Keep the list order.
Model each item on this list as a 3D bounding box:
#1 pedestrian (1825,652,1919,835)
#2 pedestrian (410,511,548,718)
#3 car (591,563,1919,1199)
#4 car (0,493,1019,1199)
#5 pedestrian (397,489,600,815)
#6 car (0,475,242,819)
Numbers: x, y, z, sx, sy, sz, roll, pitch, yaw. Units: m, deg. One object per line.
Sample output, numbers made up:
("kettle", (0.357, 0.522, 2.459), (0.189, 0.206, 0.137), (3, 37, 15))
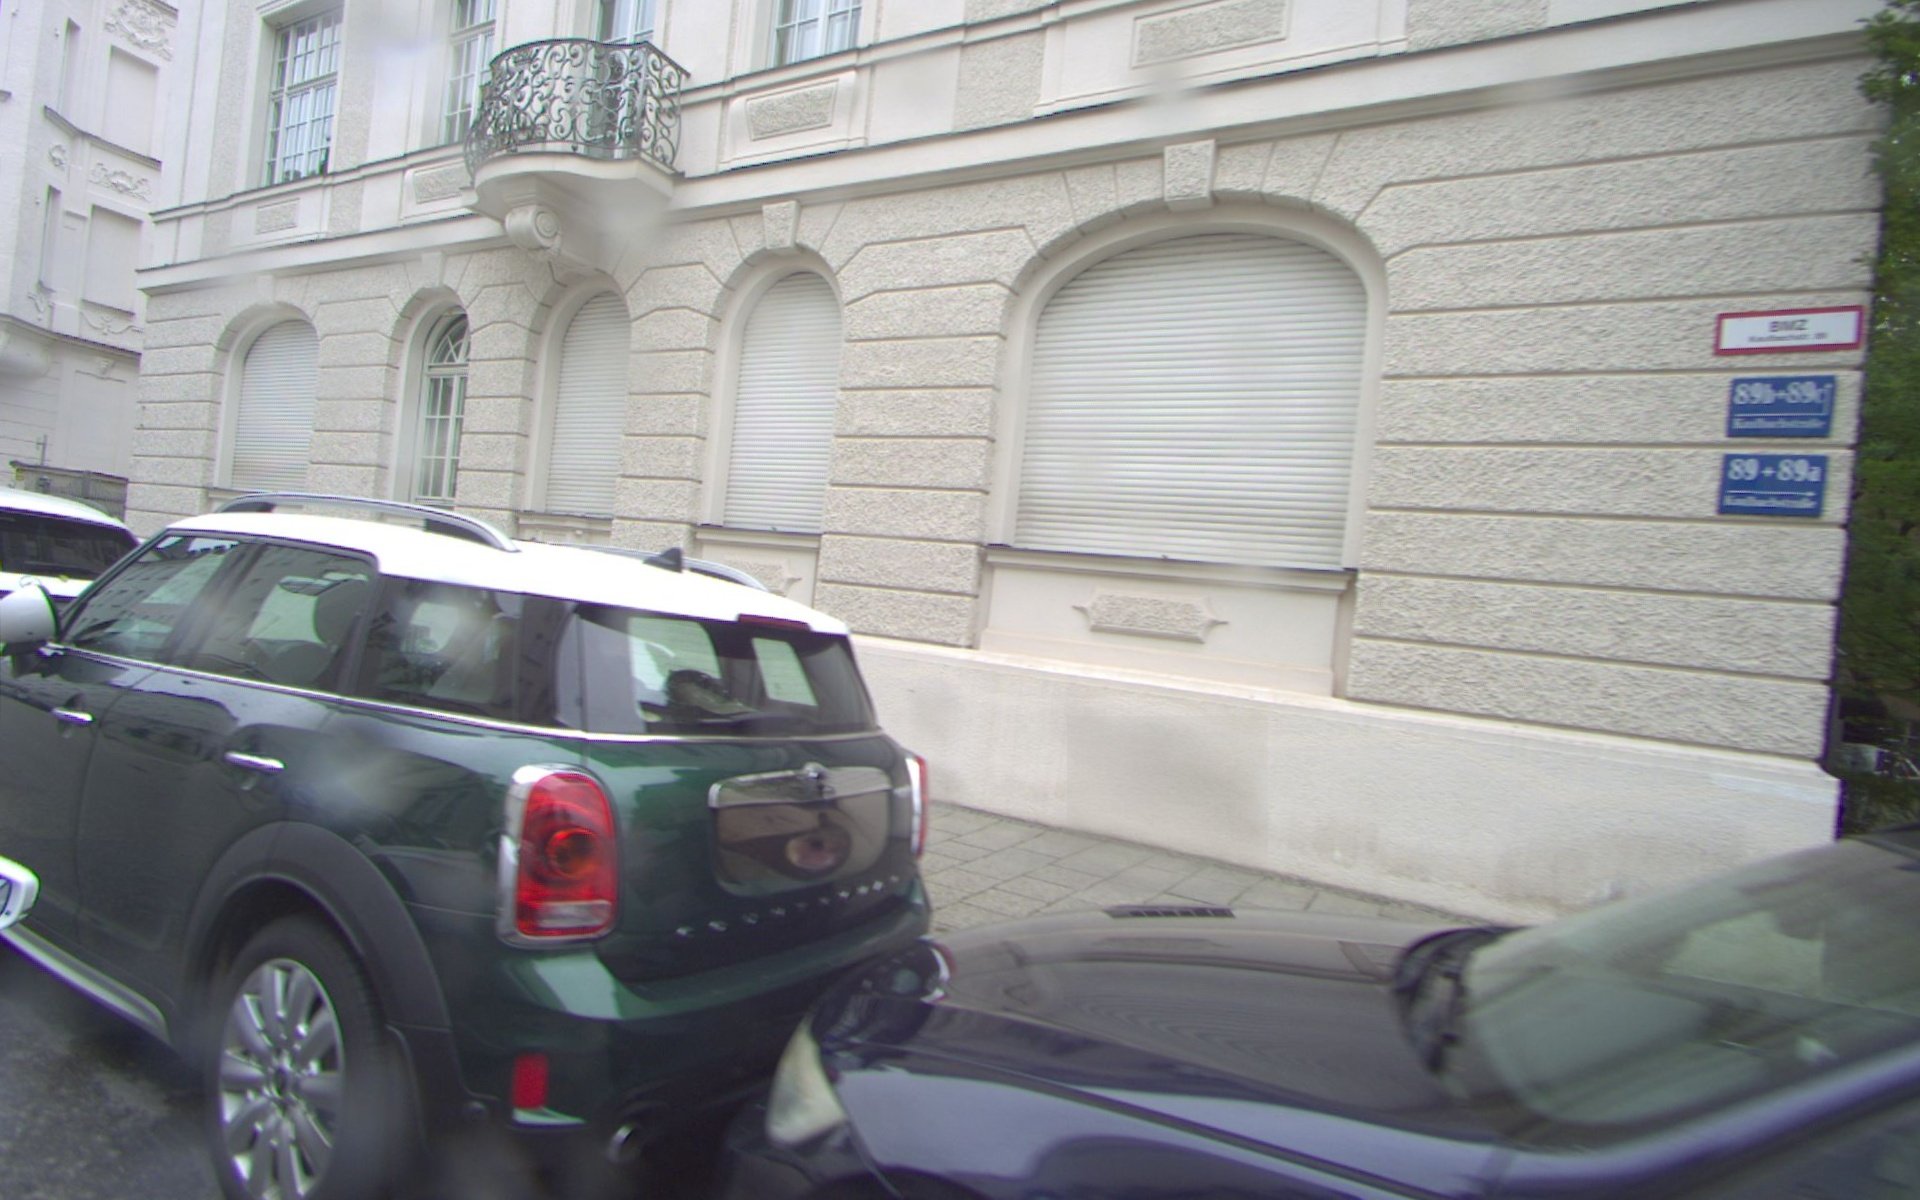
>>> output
("pedestrian", (9.674, 1.499, 10.691), (0.547, 1.817, 0.571), (7, 2, 39))
("pedestrian", (-4.271, 0.120, 8.947), (0.798, 1.702, 0.682), (7, 3, 30))
("car", (1.607, 0.950, 1.410), (4.153, 1.469, 1.714), (7, 0, 30))
("car", (-2.081, 0.556, 3.506), (4.100, 1.544, 1.751), (7, 0, 31))
("pedestrian", (-2.809, 0.281, 6.128), (0.840, 1.800, 0.682), (7, 4, 31))
("car", (-6.418, 0.004, 5.976), (4.318, 1.657, 1.897), (7, 1, 32))
